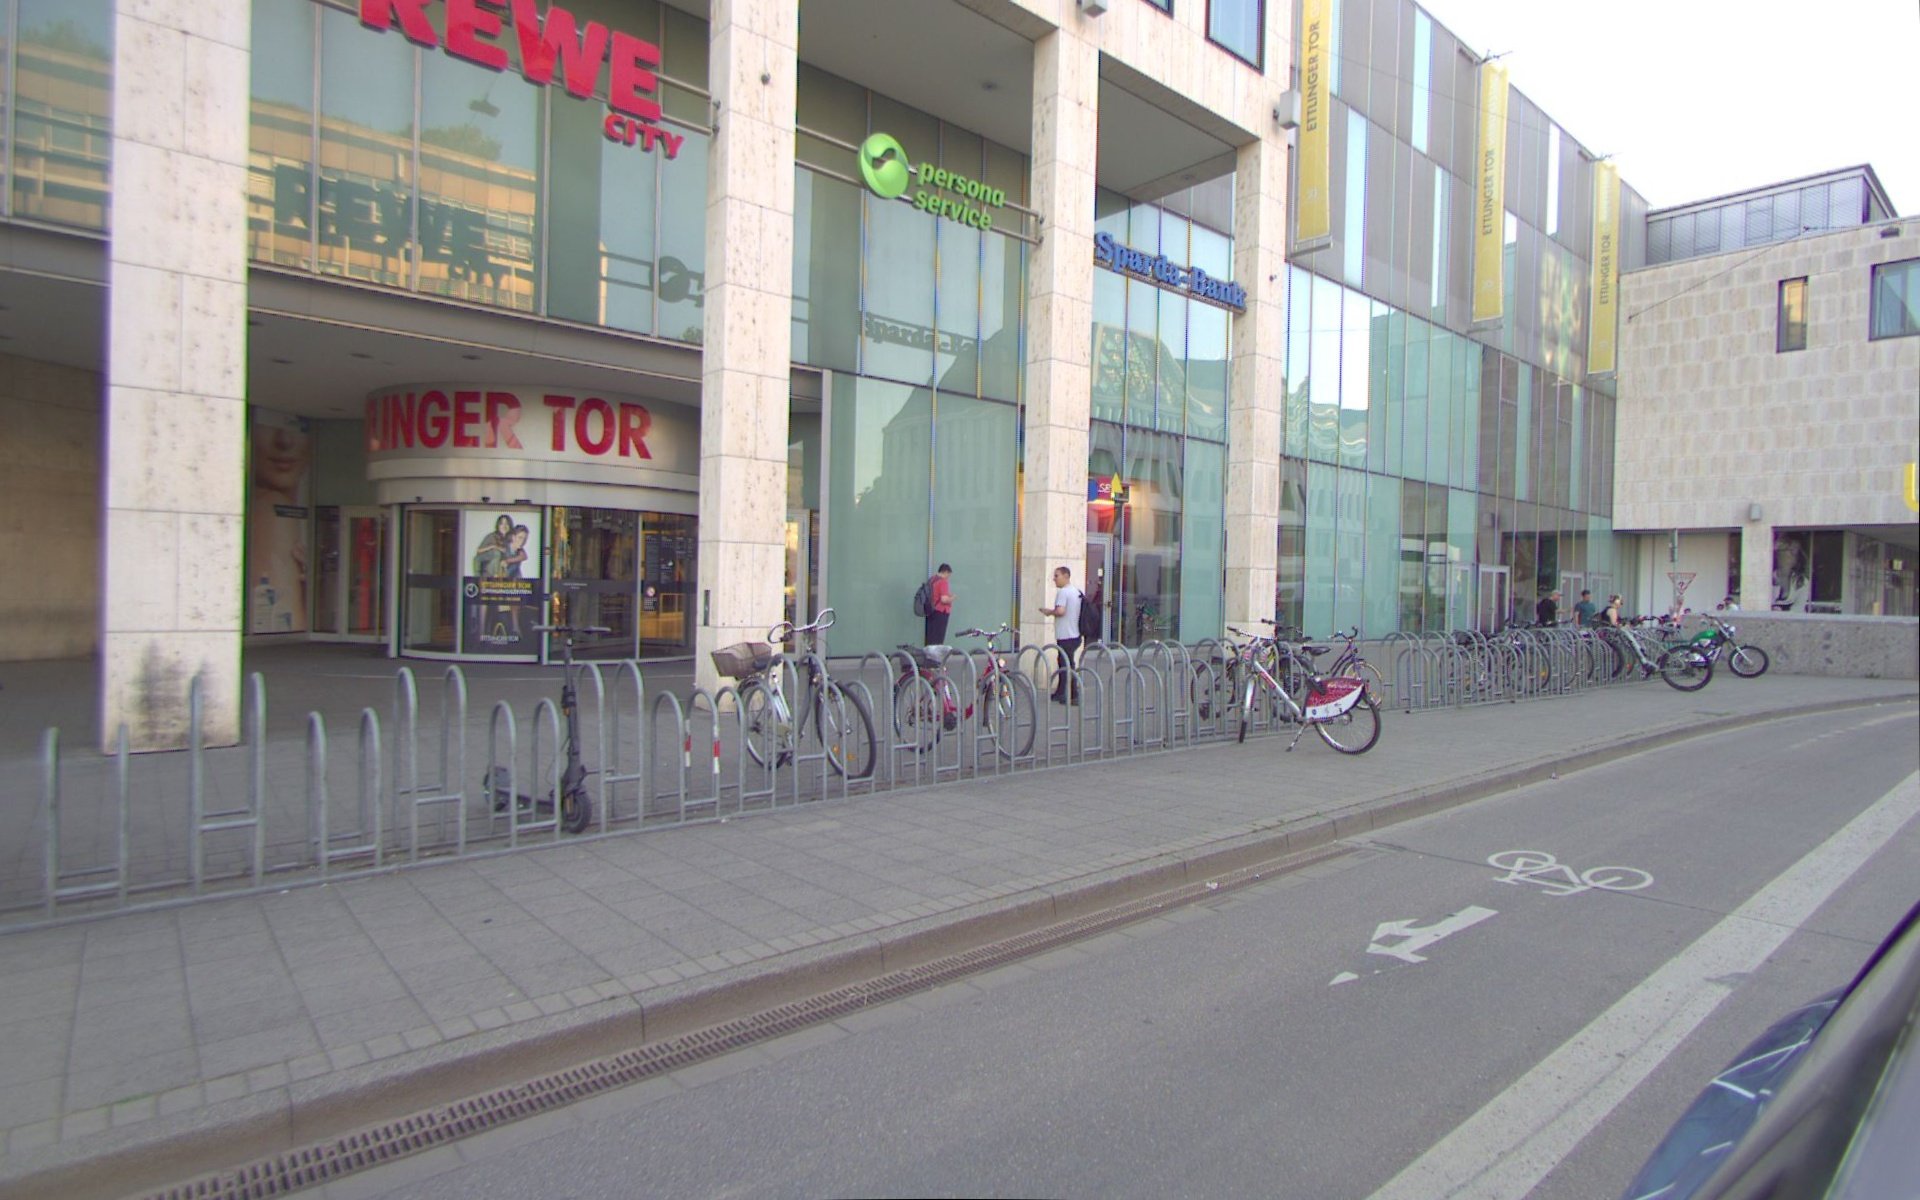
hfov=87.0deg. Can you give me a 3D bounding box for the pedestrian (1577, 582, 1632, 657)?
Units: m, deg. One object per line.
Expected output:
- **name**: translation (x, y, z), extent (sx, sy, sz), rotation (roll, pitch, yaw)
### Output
- **pedestrian**: translation (15.249, 0.454, 23.960), extent (0.803, 1.717, 0.700), rotation (1, 1, -17)

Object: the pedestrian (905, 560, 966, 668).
- **pedestrian**: translation (-0.392, 0.213, 16.239), extent (0.695, 1.672, 0.629), rotation (1, 1, -40)

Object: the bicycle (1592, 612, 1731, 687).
- **bicycle**: translation (11.570, 0.790, 16.748), extent (0.458, 1.161, 1.837), rotation (1, -2, -39)

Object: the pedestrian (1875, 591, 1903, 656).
- **pedestrian**: translation (25.564, 0.641, 27.852), extent (0.483, 1.765, 0.455), rotation (1, 1, -38)

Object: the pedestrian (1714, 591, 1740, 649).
- **pedestrian**: translation (23.892, 0.611, 31.530), extent (0.539, 1.765, 0.494), rotation (1, 1, -38)

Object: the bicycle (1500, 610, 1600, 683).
- **bicycle**: translation (9.836, 0.755, 16.899), extent (0.509, 1.179, 1.344), rotation (1, -2, -41)

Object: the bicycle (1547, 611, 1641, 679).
- **bicycle**: translation (11.399, 0.786, 18.223), extent (0.509, 1.179, 1.344), rotation (1, -2, -41)

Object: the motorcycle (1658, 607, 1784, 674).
- **motorcycle**: translation (15.584, 0.802, 20.770), extent (0.472, 1.239, 2.004), rotation (1, 1, -43)

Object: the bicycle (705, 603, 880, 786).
- **bicycle**: translation (-1.303, 0.655, 7.671), extent (0.607, 1.243, 1.517), rotation (1, -2, -41)

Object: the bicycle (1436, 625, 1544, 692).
- **bicycle**: translation (7.949, 0.862, 15.210), extent (0.509, 0.944, 1.344), rotation (1, -2, -41)

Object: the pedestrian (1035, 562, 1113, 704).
- **pedestrian**: translation (1.424, 0.393, 12.675), extent (0.618, 1.713, 0.707), rotation (1, 1, -40)

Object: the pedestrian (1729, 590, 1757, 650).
- **pedestrian**: translation (23.527, 0.586, 30.416), extent (0.644, 1.765, 0.494), rotation (1, 1, -38)

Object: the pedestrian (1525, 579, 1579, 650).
- **pedestrian**: translation (14.283, 0.336, 24.412), extent (0.803, 1.668, 0.742), rotation (1, 1, -18)

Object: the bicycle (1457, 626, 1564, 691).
- **bicycle**: translation (8.460, 0.874, 15.589), extent (0.509, 0.944, 1.344), rotation (1, -2, -41)

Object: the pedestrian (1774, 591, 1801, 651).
- **pedestrian**: translation (24.915, 0.628, 30.460), extent (0.483, 1.765, 0.504), rotation (1, 1, -38)

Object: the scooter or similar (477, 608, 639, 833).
- **scooter or similar**: translation (-2.514, 0.682, 6.279), extent (0.484, 1.214, 1.194), rotation (1, 1, -44)

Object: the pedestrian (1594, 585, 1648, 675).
- **pedestrian**: translation (12.699, 0.552, 19.467), extent (0.802, 1.663, 0.640), rotation (2, 1, 31)

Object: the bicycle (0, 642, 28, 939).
- **bicycle**: translation (-4.551, 0.765, 4.481), extent (1.768, 1.092, 0.475), rotation (3, 1, 43)

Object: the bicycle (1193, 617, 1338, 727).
- **bicycle**: translation (3.383, 0.766, 11.314), extent (0.569, 1.138, 1.519), rotation (1, -1, -36)

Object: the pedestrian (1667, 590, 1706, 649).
- **pedestrian**: translation (22.410, 0.585, 31.231), extent (0.644, 1.765, 0.794), rotation (1, 1, -38)

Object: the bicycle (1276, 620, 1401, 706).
- **bicycle**: translation (5.017, 0.803, 13.454), extent (1.439, 1.078, 0.572), rotation (-1, -2, 39)

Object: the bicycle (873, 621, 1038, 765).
- **bicycle**: translation (-0.071, 0.742, 8.674), extent (0.543, 1.120, 1.516), rotation (1, -2, -43)

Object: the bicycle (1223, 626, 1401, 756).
- **bicycle**: translation (3.175, 0.785, 9.251), extent (0.458, 1.077, 1.518), rotation (1, -2, -39)
